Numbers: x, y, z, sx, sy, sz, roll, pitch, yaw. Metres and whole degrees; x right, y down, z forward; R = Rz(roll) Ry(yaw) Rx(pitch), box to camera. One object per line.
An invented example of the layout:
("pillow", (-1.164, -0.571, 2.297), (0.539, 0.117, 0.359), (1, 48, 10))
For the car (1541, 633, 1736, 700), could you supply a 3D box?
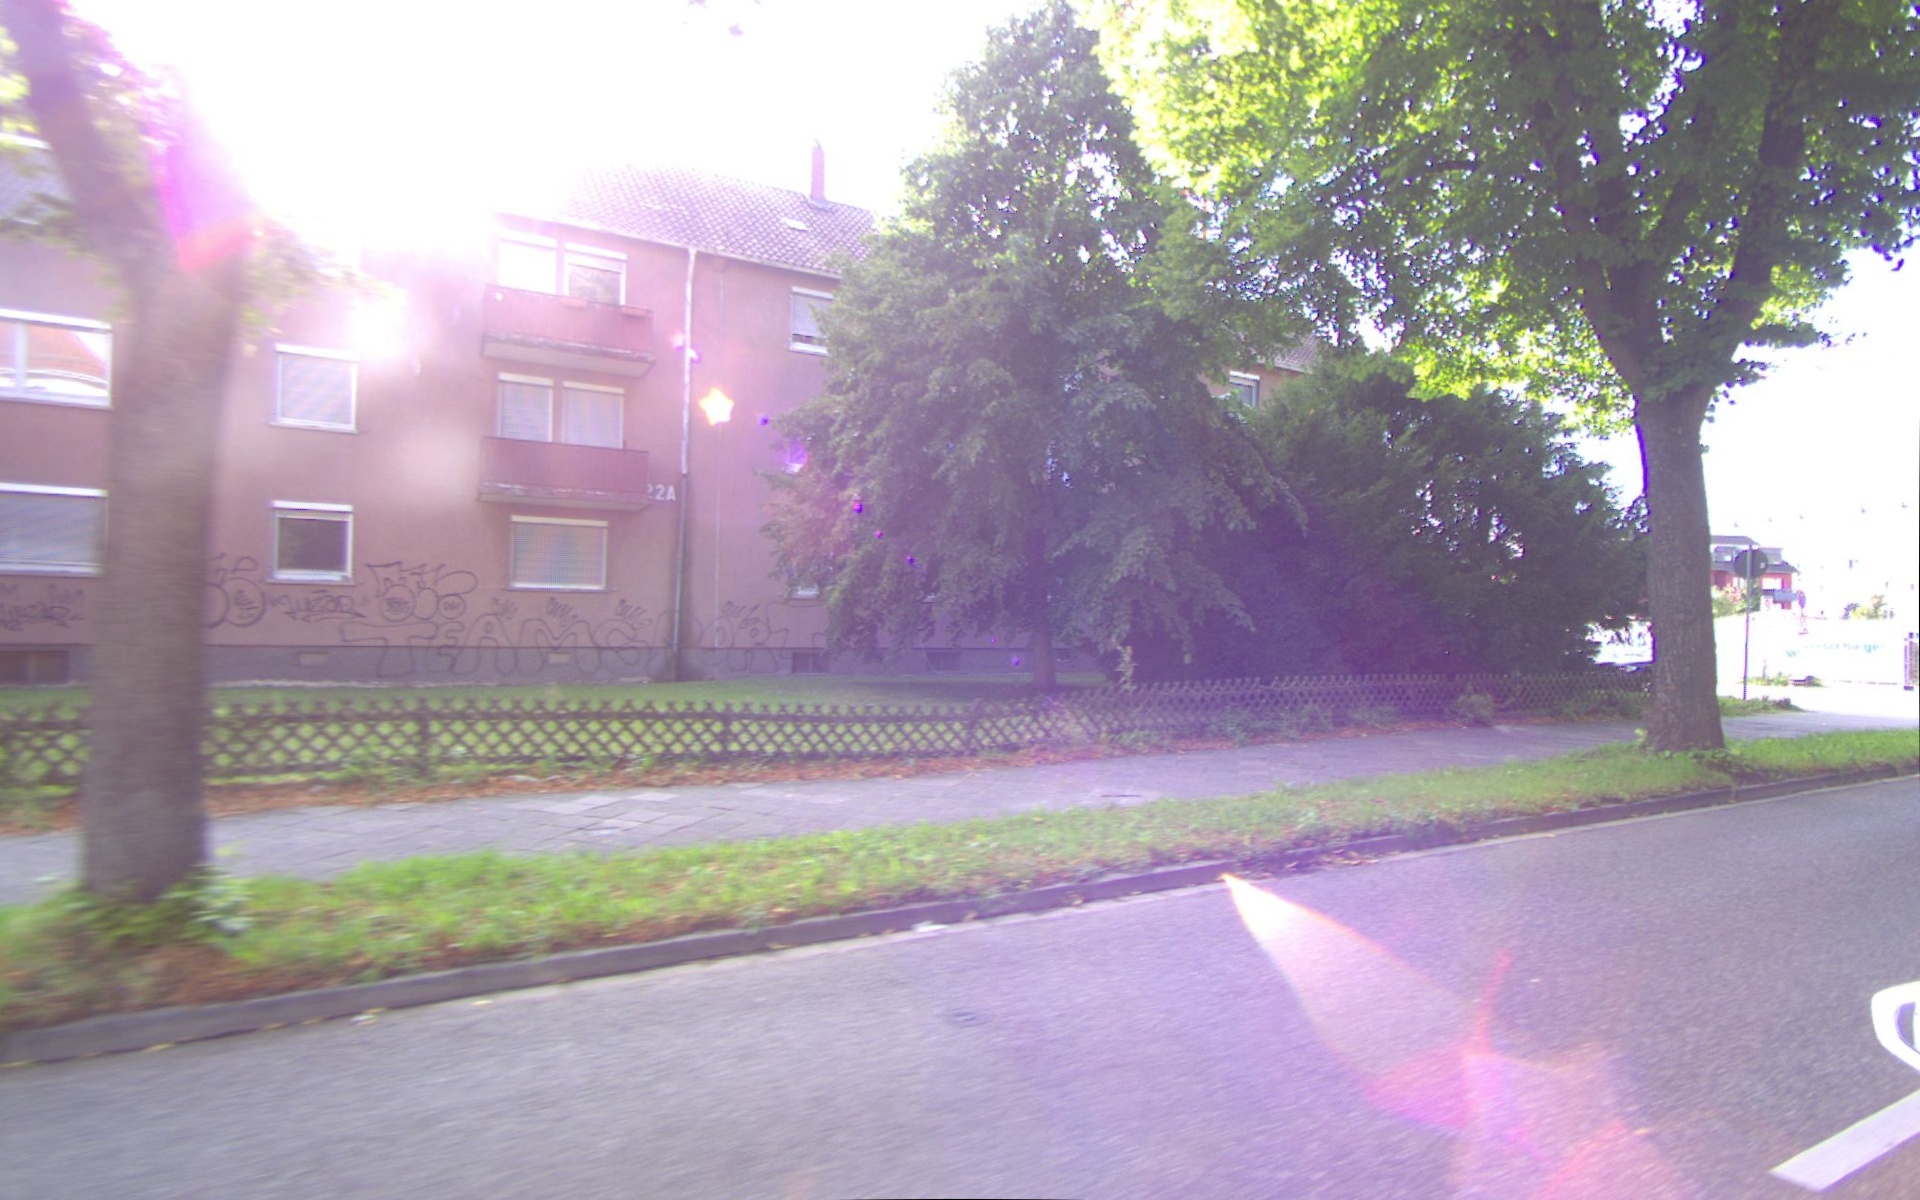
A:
("car", (16.143, 1.575, 23.884), (4.450, 1.447, 1.986), (3, -3, -27))
